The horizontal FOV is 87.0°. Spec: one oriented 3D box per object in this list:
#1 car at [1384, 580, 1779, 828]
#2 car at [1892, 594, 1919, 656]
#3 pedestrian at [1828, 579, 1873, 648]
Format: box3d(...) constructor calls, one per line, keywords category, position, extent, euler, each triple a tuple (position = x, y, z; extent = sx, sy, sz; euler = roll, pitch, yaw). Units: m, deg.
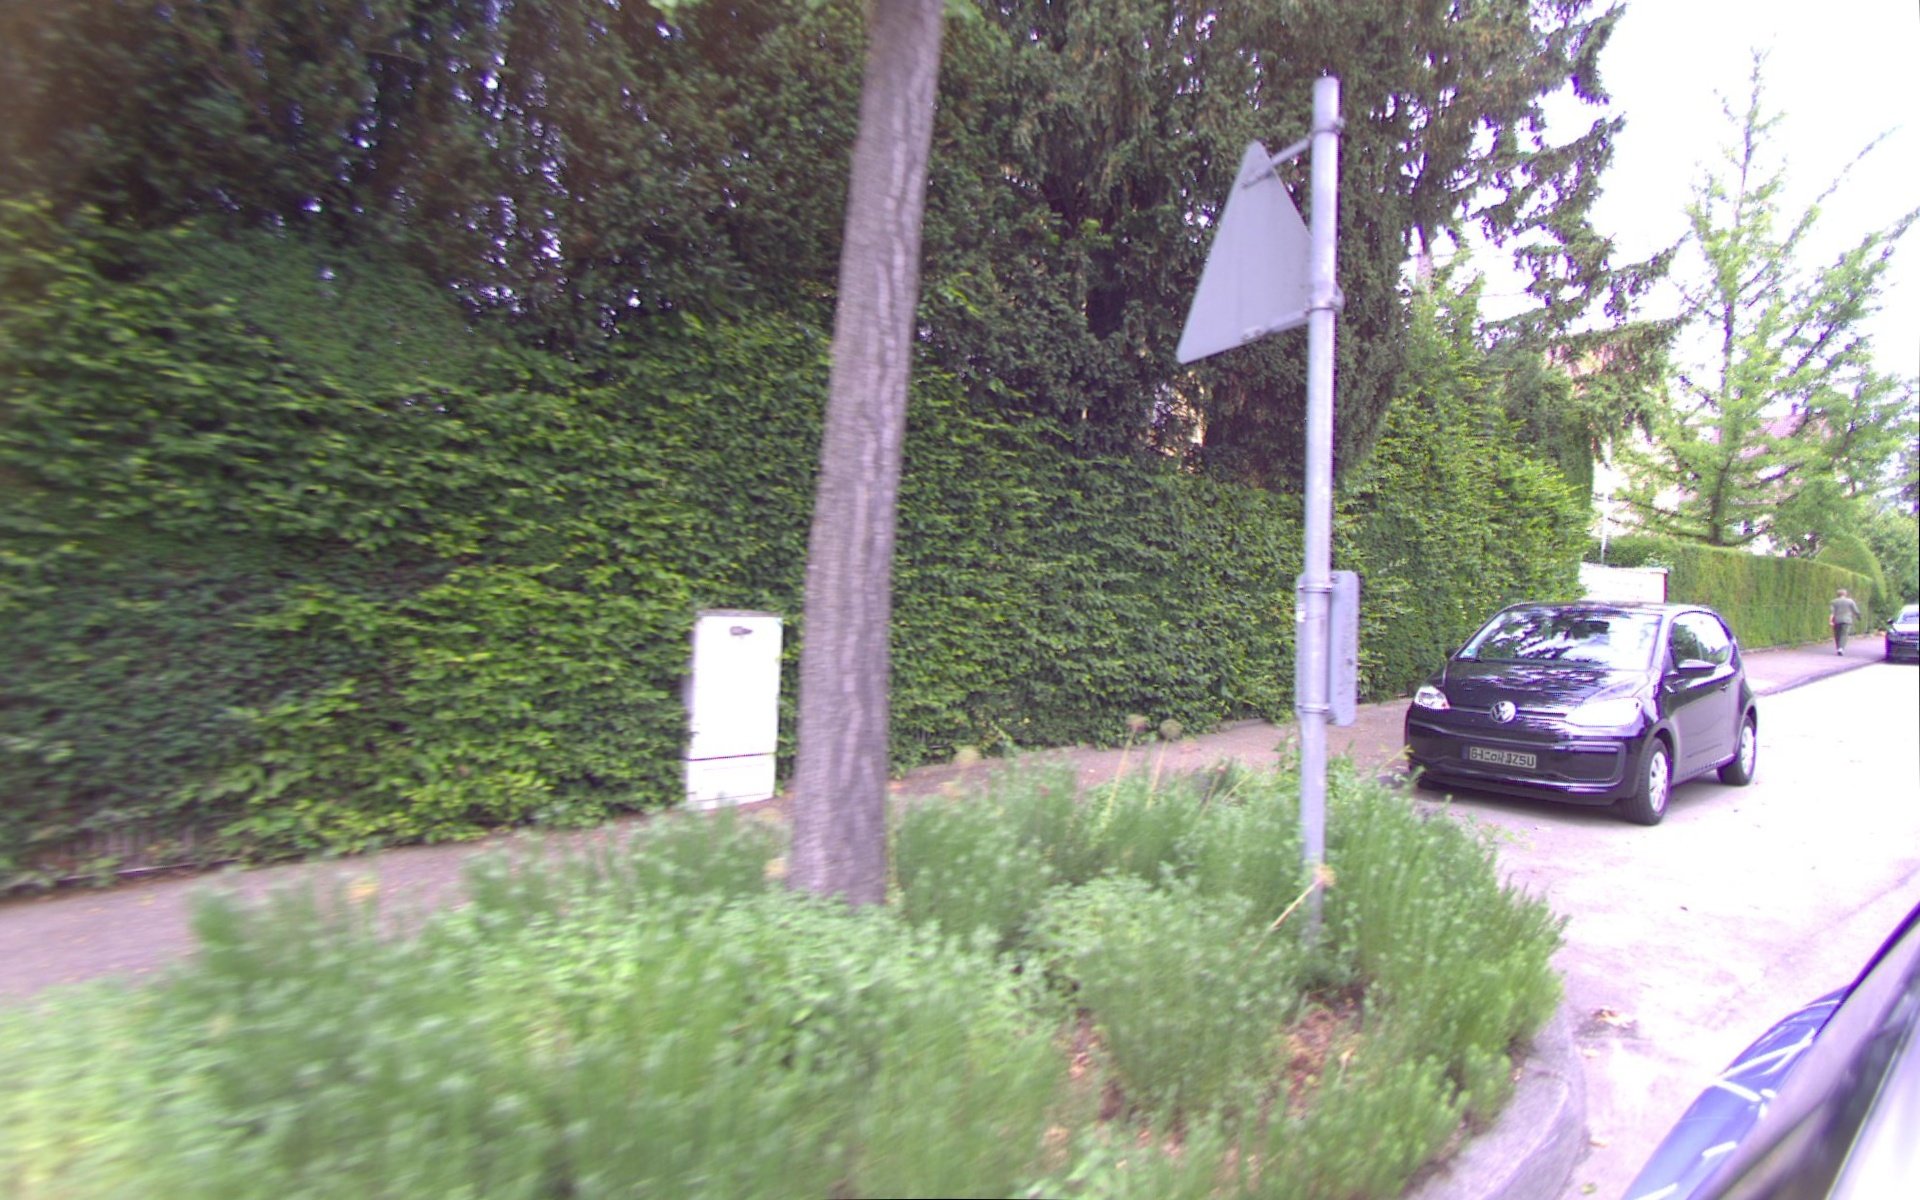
box3d(category="car", position=(4.982, 0.626, 7.921), extent=(3.675, 1.491, 1.626), euler=(0, 0, -41))
box3d(category="car", position=(24.206, 0.612, 24.781), extent=(3.985, 1.424, 1.681), euler=(0, 3, -43))
box3d(category="pedestrian", position=(22.712, 0.329, 25.818), extent=(0.901, 1.719, 0.671), euler=(0, 2, -39))
